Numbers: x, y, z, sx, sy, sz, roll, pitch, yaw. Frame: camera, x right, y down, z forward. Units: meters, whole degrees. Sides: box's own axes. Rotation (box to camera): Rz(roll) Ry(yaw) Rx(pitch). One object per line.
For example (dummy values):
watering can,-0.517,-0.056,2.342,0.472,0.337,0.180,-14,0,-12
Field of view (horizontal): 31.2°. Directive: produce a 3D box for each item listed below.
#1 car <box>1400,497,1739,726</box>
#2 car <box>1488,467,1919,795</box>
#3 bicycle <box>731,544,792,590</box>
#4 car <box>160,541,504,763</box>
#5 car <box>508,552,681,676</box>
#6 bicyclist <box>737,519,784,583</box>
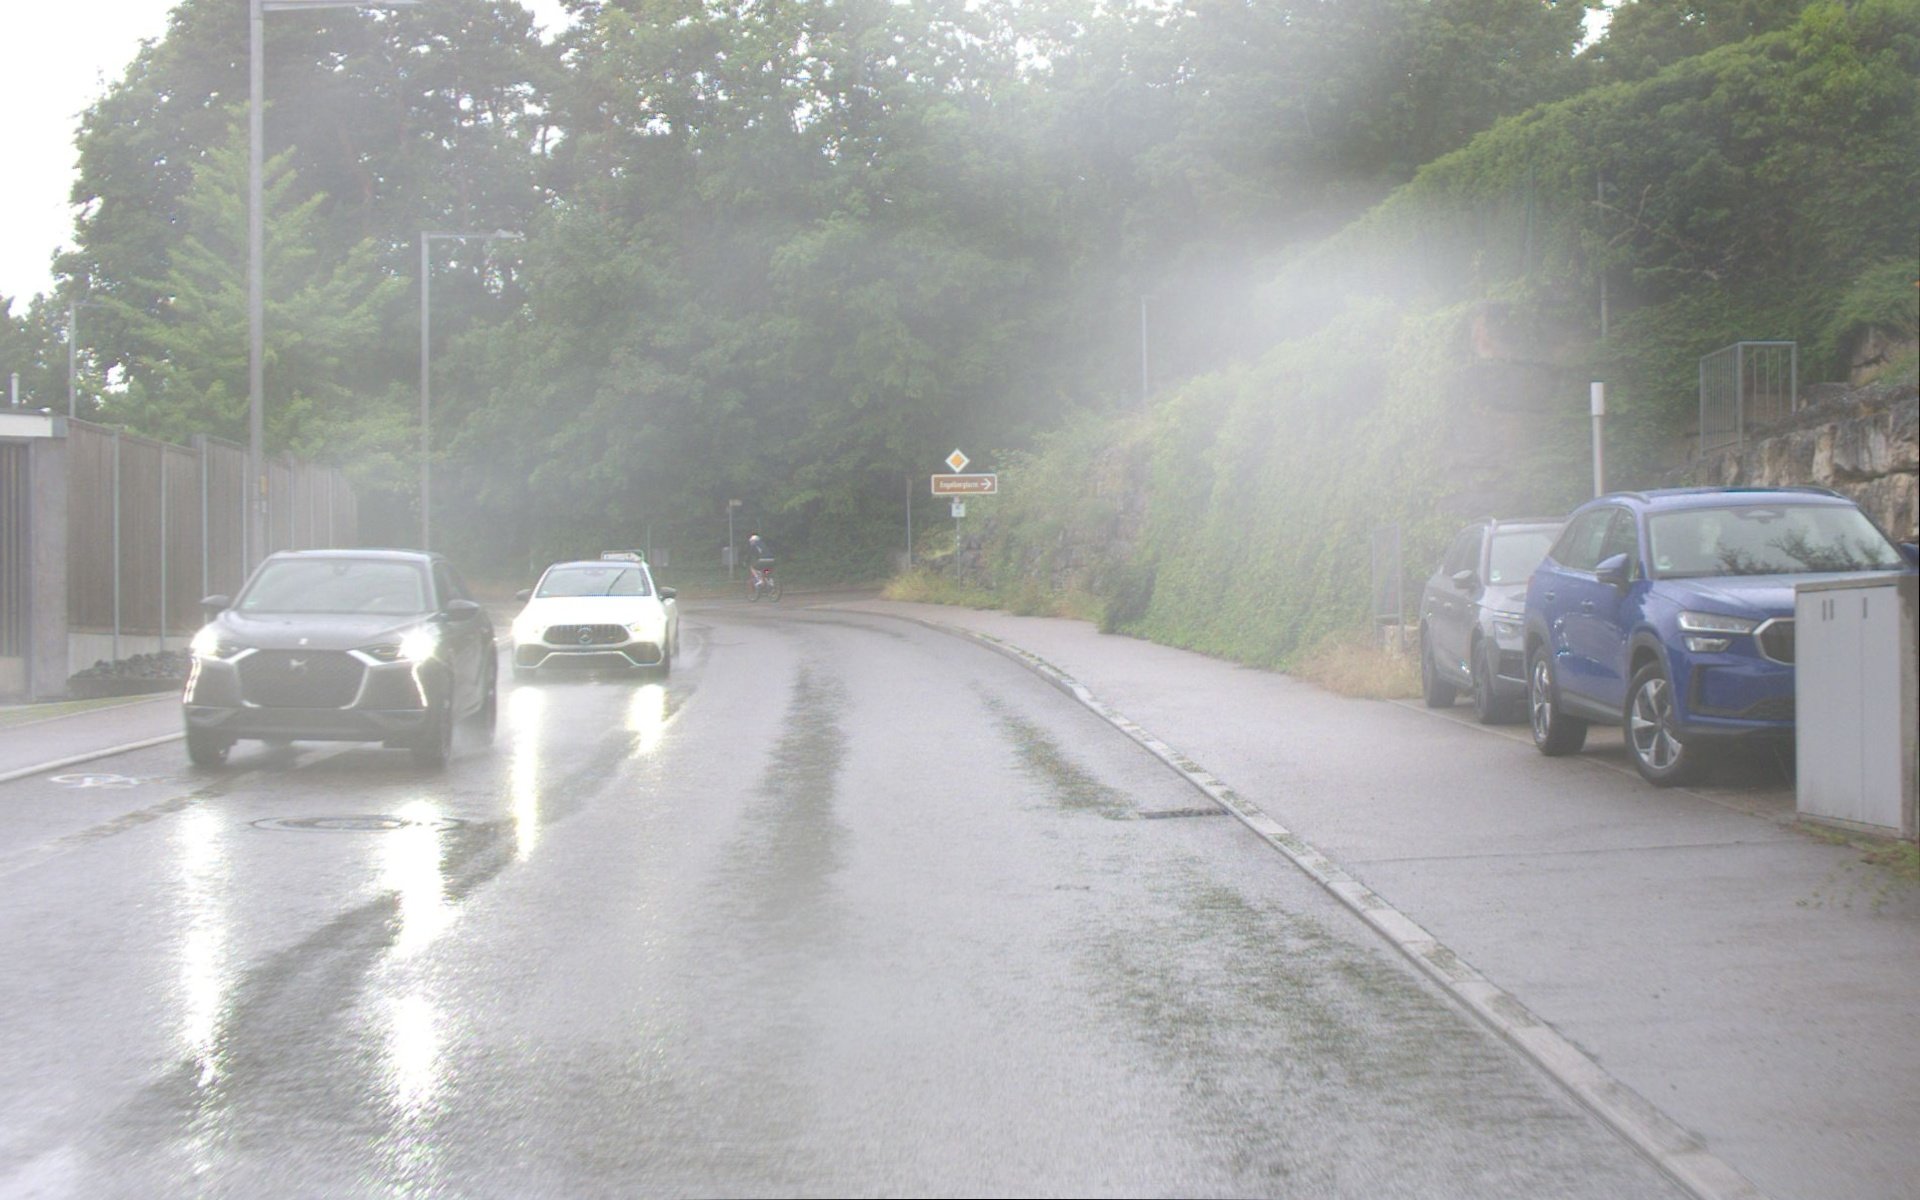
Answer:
car,4.637,0.049,26.713,1.810,1.558,4.010,-3,1,-1
car,4.636,0.115,20.480,1.993,1.664,4.545,-3,1,-3
bicycle,-5.219,-0.864,90.250,1.619,1.081,0.528,6,5,38
car,-4.436,0.320,24.795,1.851,1.464,3.700,1,1,-1
car,-4.507,0.138,42.931,1.847,1.455,4.268,1,1,-2
bicyclist,-5.236,-1.289,90.263,0.904,1.609,0.721,6,5,37
